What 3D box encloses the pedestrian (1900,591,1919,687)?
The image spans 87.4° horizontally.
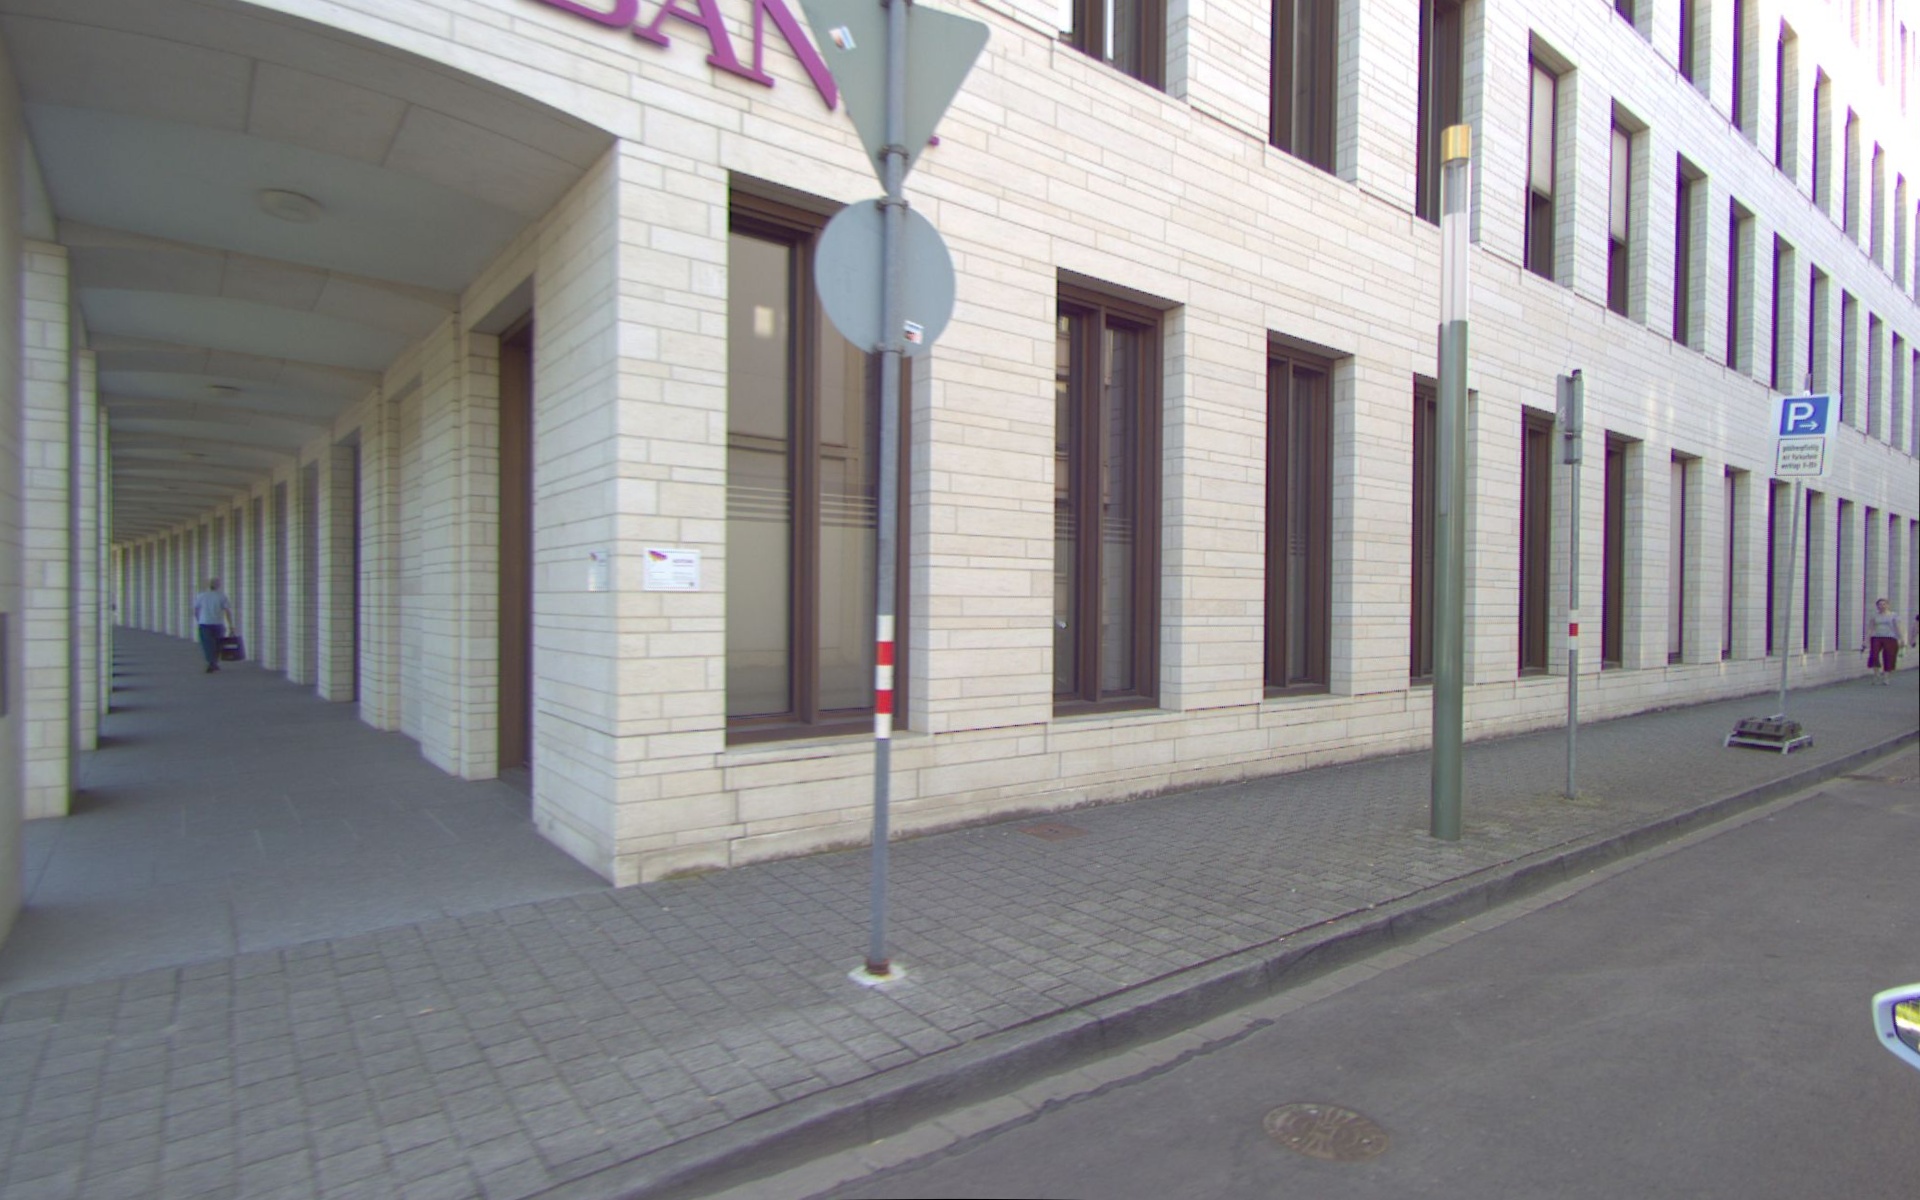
[{"bbox_3d":[18.341,0.737,19.004,0.720,1.810,0.699,0,-1,-37],"label":"pedestrian"}]

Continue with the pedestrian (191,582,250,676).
[{"bbox_3d":[-13.795,0.529,18.738,0.852,1.707,0.870,1,0,-37],"label":"pedestrian"}]

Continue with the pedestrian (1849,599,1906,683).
[{"bbox_3d":[18.339,0.811,20.077,0.853,1.635,0.699,0,-1,-38],"label":"pedestrian"}]
